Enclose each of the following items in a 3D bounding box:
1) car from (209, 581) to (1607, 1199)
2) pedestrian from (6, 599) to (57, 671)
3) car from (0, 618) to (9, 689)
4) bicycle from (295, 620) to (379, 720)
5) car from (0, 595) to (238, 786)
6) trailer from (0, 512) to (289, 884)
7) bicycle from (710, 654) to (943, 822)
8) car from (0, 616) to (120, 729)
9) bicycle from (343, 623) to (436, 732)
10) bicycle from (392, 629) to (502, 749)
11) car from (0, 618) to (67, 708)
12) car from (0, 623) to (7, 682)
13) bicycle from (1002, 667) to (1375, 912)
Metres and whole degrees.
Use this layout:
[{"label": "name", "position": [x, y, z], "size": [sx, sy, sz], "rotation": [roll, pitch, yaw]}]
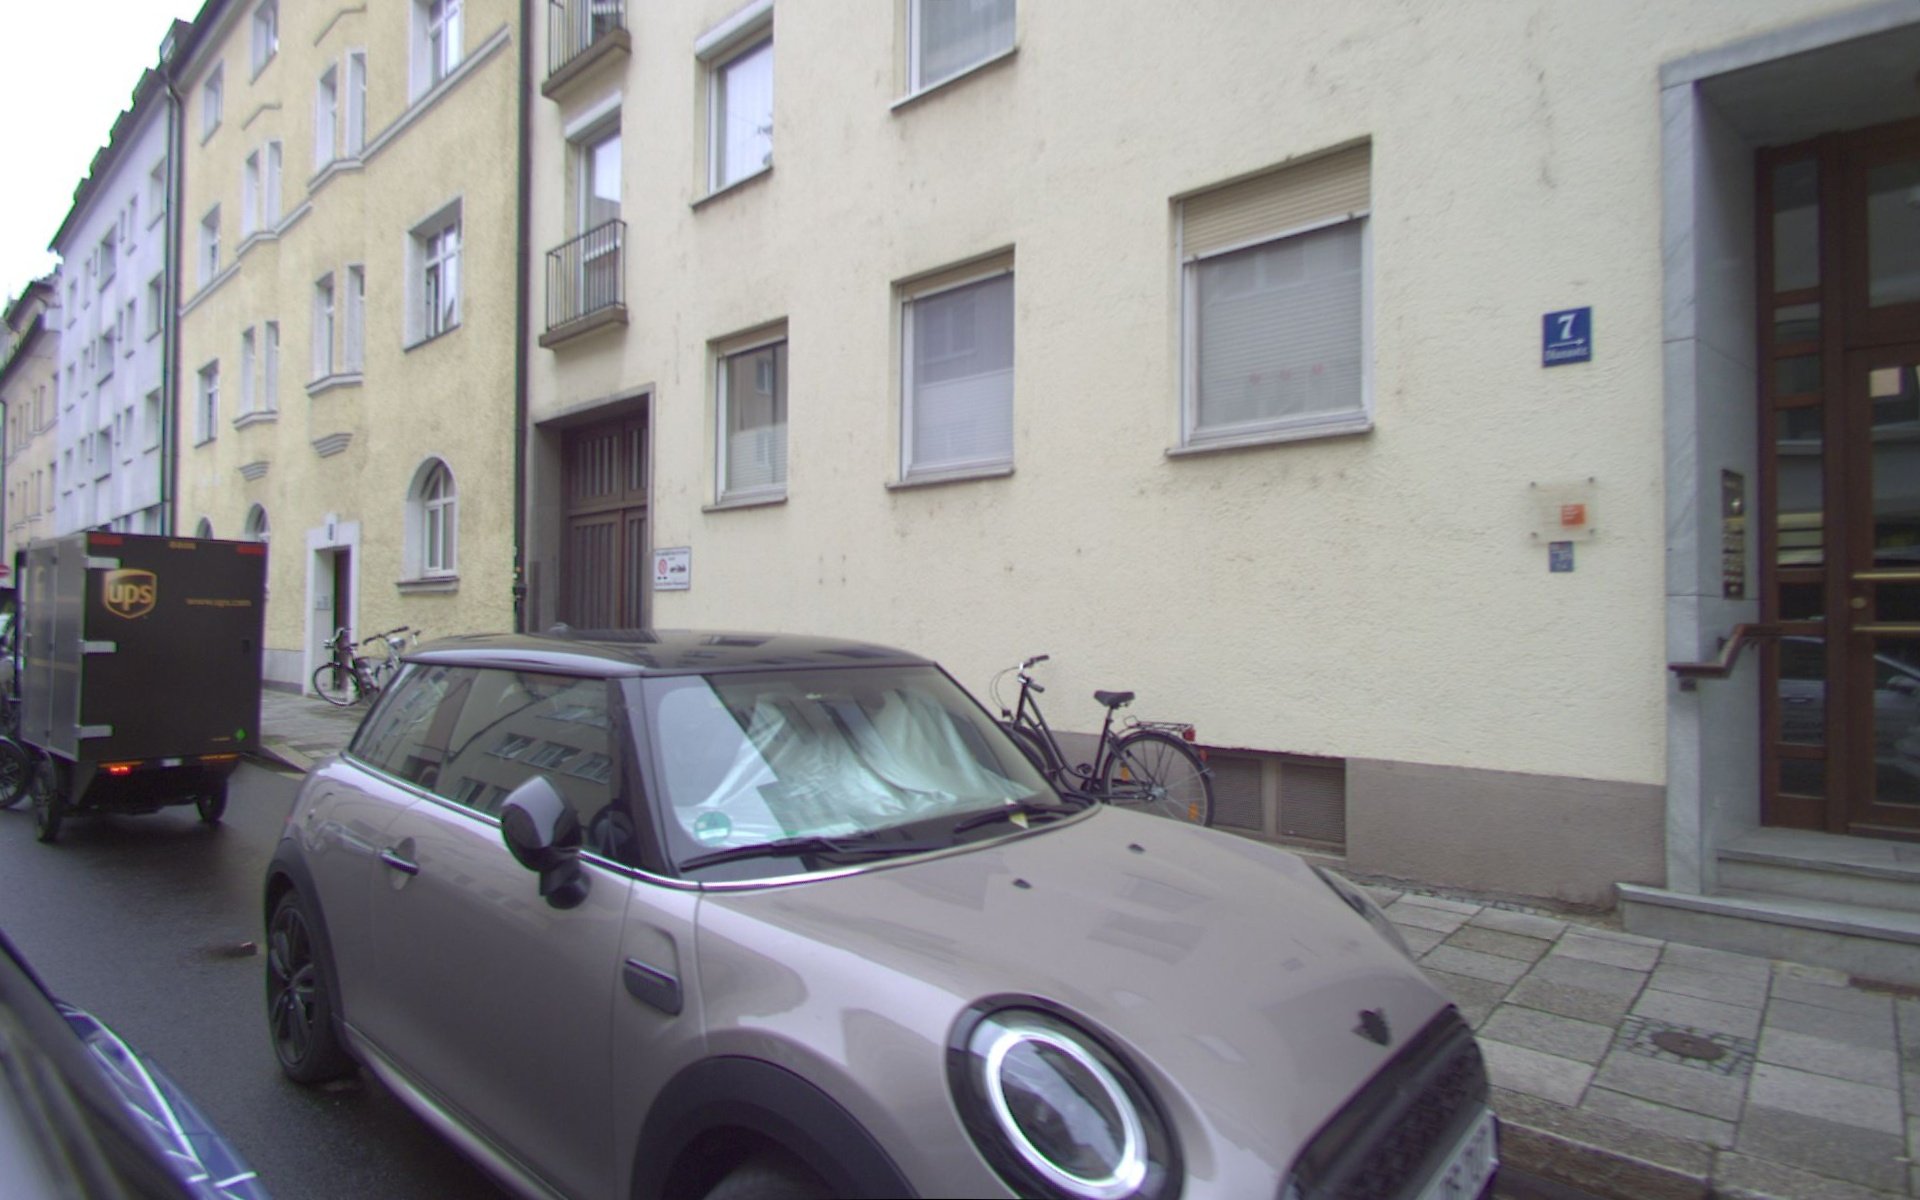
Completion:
[{"label": "car", "position": [-0.590, 0.751, 2.794], "size": [3.802, 1.446, 1.634], "rotation": [-1, -2, 42]}, {"label": "pedestrian", "position": [-23.602, 0.882, 25.725], "size": [1.067, 1.778, 0.830], "rotation": [-1, -1, 41]}, {"label": "car", "position": [-21.482, 1.104, 21.558], "size": [3.404, 1.471, 1.545], "rotation": [-1, -3, 43]}, {"label": "bicycle", "position": [-8.725, 0.944, 14.155], "size": [1.551, 1.288, 0.529], "rotation": [0, 1, 41]}, {"label": "car", "position": [-9.493, 0.839, 10.971], "size": [4.415, 1.672, 1.858], "rotation": [-1, -3, 43]}, {"label": "trailer", "position": [-6.153, 0.574, 7.461], "size": [3.319, 2.132, 1.340], "rotation": [0, -1, 44]}, {"label": "bicycle", "position": [-1.023, 0.940, 7.443], "size": [1.813, 1.035, 0.687], "rotation": [-2, -1, 43]}, {"label": "car", "position": [-13.462, 0.976, 14.649], "size": [3.476, 1.471, 1.545], "rotation": [-1, -3, 43]}, {"label": "bicycle", "position": [-7.380, 0.961, 13.067], "size": [1.551, 1.288, 0.529], "rotation": [0, 1, 41]}, {"label": "bicycle", "position": [-6.074, 1.009, 11.948], "size": [1.551, 1.288, 0.588], "rotation": [0, 1, 41]}, {"label": "car", "position": [-16.970, 1.039, 17.640], "size": [3.761, 1.471, 1.547], "rotation": [-1, -2, 40]}, {"label": "car", "position": [-24.845, 1.202, 24.695], "size": [4.248, 1.397, 1.793], "rotation": [0, -3, 40]}, {"label": "bicycle", "position": [1.170, 0.910, 5.435], "size": [1.811, 1.035, 0.723], "rotation": [-2, -1, 39]}]
